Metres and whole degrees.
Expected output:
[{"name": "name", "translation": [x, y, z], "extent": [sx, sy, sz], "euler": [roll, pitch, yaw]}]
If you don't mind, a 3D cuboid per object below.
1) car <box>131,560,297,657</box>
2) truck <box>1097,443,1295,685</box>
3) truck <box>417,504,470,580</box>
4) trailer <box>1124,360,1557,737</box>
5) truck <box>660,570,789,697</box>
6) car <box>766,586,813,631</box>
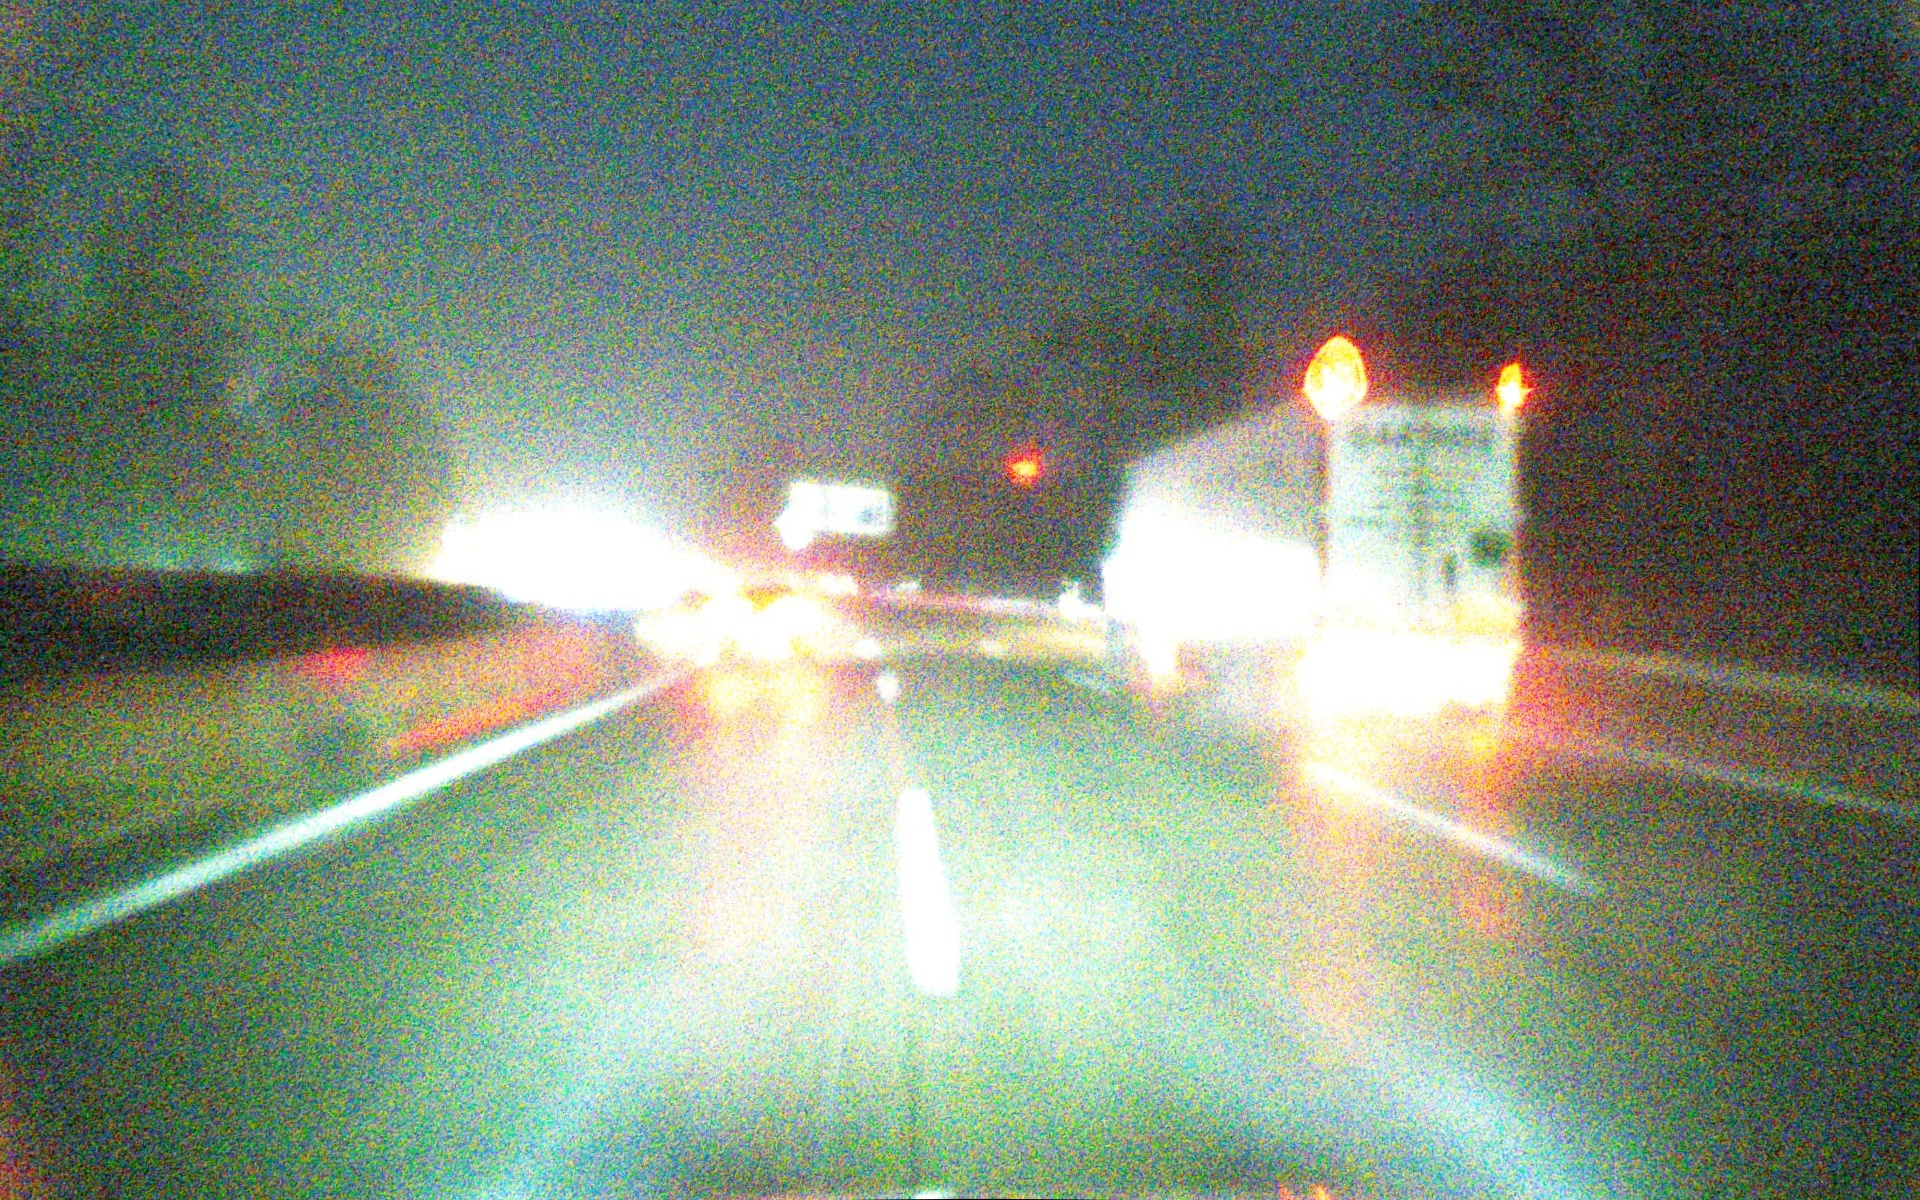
[{"name": "car", "translation": [-16.649, 0.129, 37.161], "extent": [1.954, 1.884, 3.998], "euler": [5, 1, -3]}, {"name": "truck", "translation": [4.505, -0.659, 32.563], "extent": [2.657, 4.315, 5.287], "euler": [1, 0, -5]}, {"name": "truck", "translation": [-38.065, -4.279, 122.002], "extent": [2.704, 5.184, 5.867], "euler": [5, 1, -11]}, {"name": "trailer", "translation": [5.071, -0.633, 25.772], "extent": [2.685, 4.322, 13.359], "euler": [-1, 0, -4]}, {"name": "truck", "translation": [-4.623, 0.552, 33.370], "extent": [2.104, 2.113, 6.597], "euler": [5, 1, -6]}, {"name": "car", "translation": [-8.893, 0.407, 86.732], "extent": [1.954, 2.048, 4.000], "euler": [5, 1, -1]}]
